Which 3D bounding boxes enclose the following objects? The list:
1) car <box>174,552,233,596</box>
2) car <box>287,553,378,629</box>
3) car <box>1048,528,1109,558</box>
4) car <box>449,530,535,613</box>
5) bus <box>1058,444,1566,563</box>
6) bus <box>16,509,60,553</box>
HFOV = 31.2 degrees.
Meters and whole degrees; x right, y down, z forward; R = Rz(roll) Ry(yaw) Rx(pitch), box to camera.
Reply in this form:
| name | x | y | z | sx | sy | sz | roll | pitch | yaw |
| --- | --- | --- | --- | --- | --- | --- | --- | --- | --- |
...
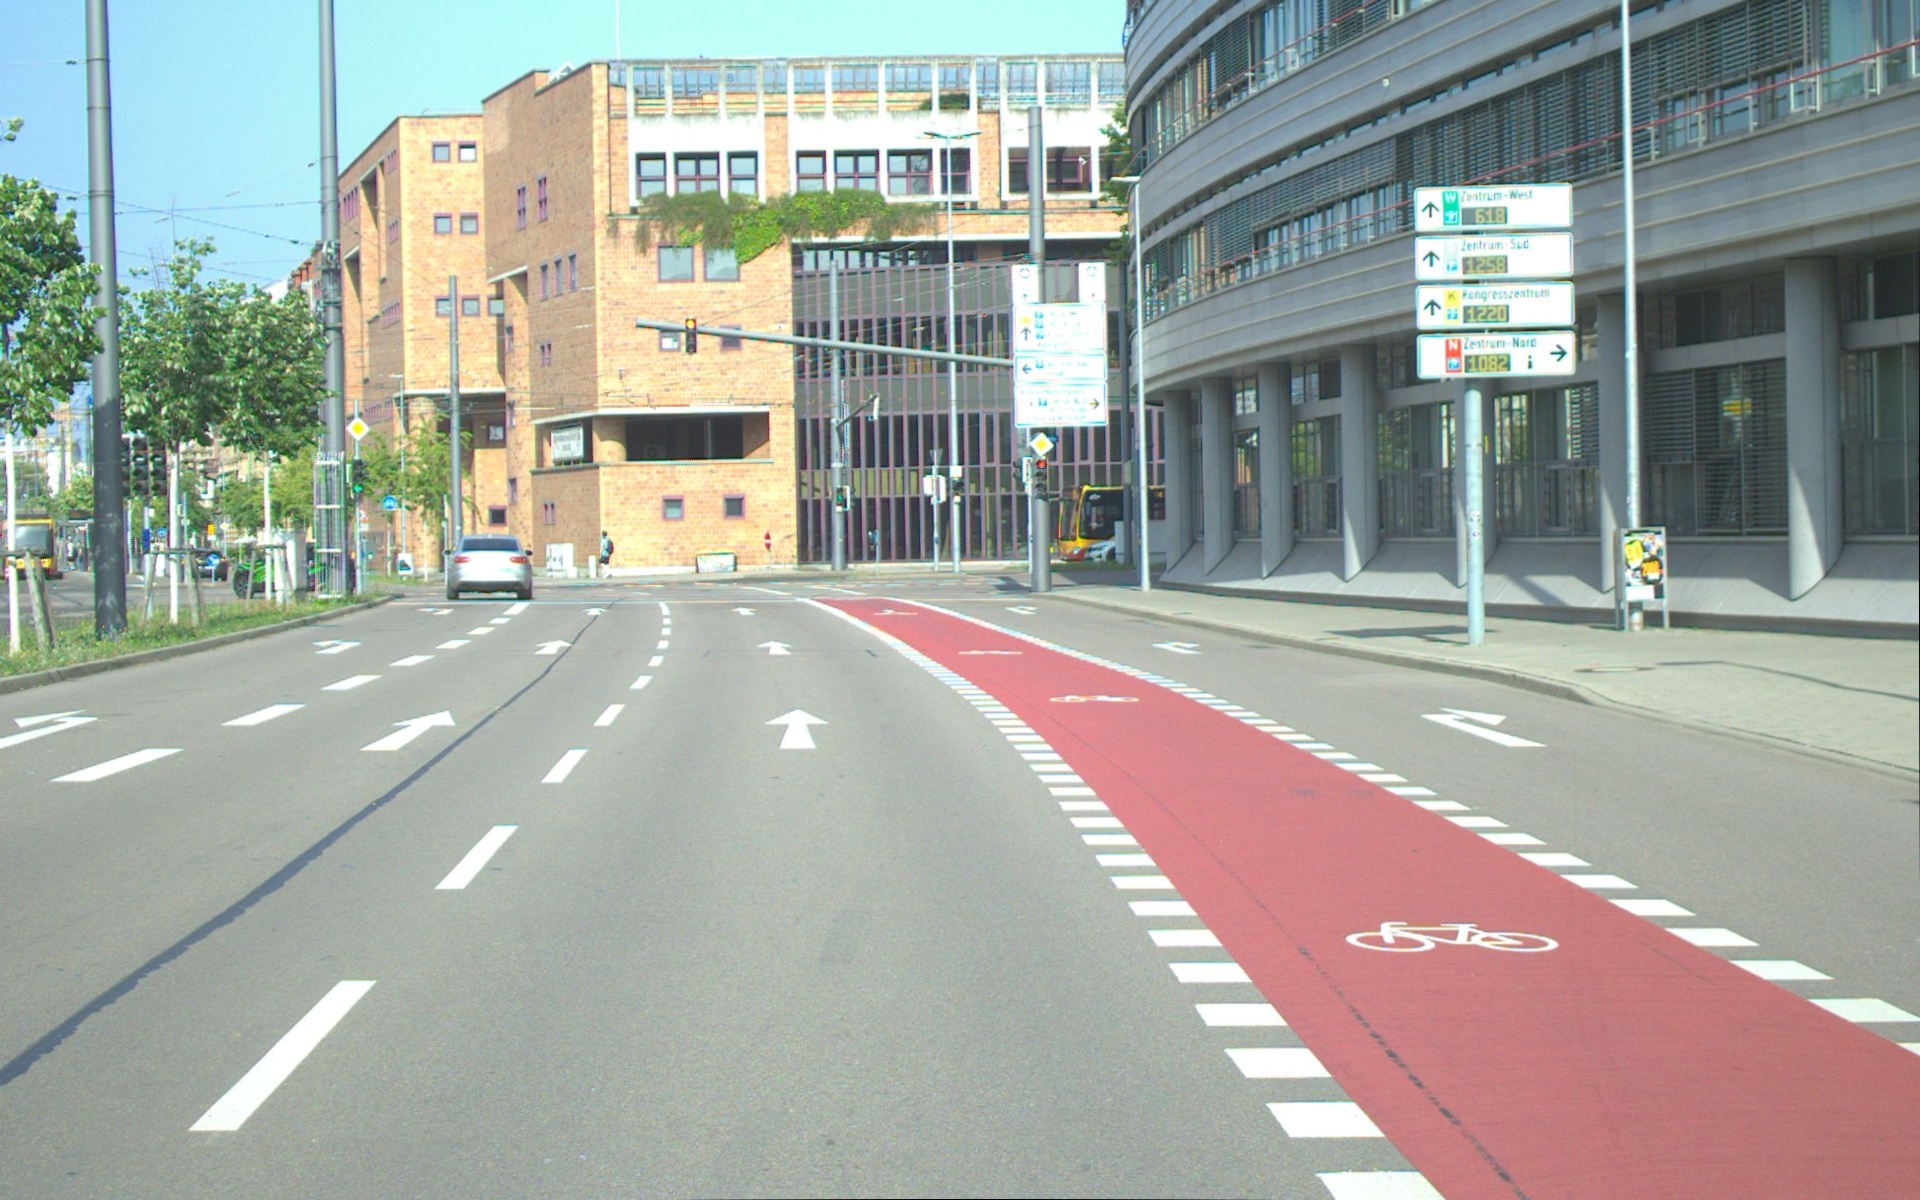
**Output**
| name | x | y | z | sx | sy | sz | roll | pitch | yaw |
| --- | --- | --- | --- | --- | --- | --- | --- | --- | --- |
| car | -36.694 | -1.255 | 166.644 | 1.993 | 2.007 | 4.001 | -1 | 0 | -24 |
| car | -17.167 | -0.230 | 94.266 | 1.993 | 2.007 | 4.243 | -1 | 0 | -4 |
| car | 4.067 | -1.948 | 117.894 | 1.951 | 0.955 | 1.094 | 1 | -1 | -6 |
| car | -10.443 | -0.611 | 76.567 | 1.704 | 1.749 | 3.891 | -1 | 0 | -10 |
| bus | 12.445 | -3.406 | 122.019 | 17.607 | 3.797 | 2.865 | -1 | 0 | -5 |
| bus | -45.500 | -3.387 | 169.683 | 1.993 | 2.007 | 4.001 | -1 | 0 | -16 |
